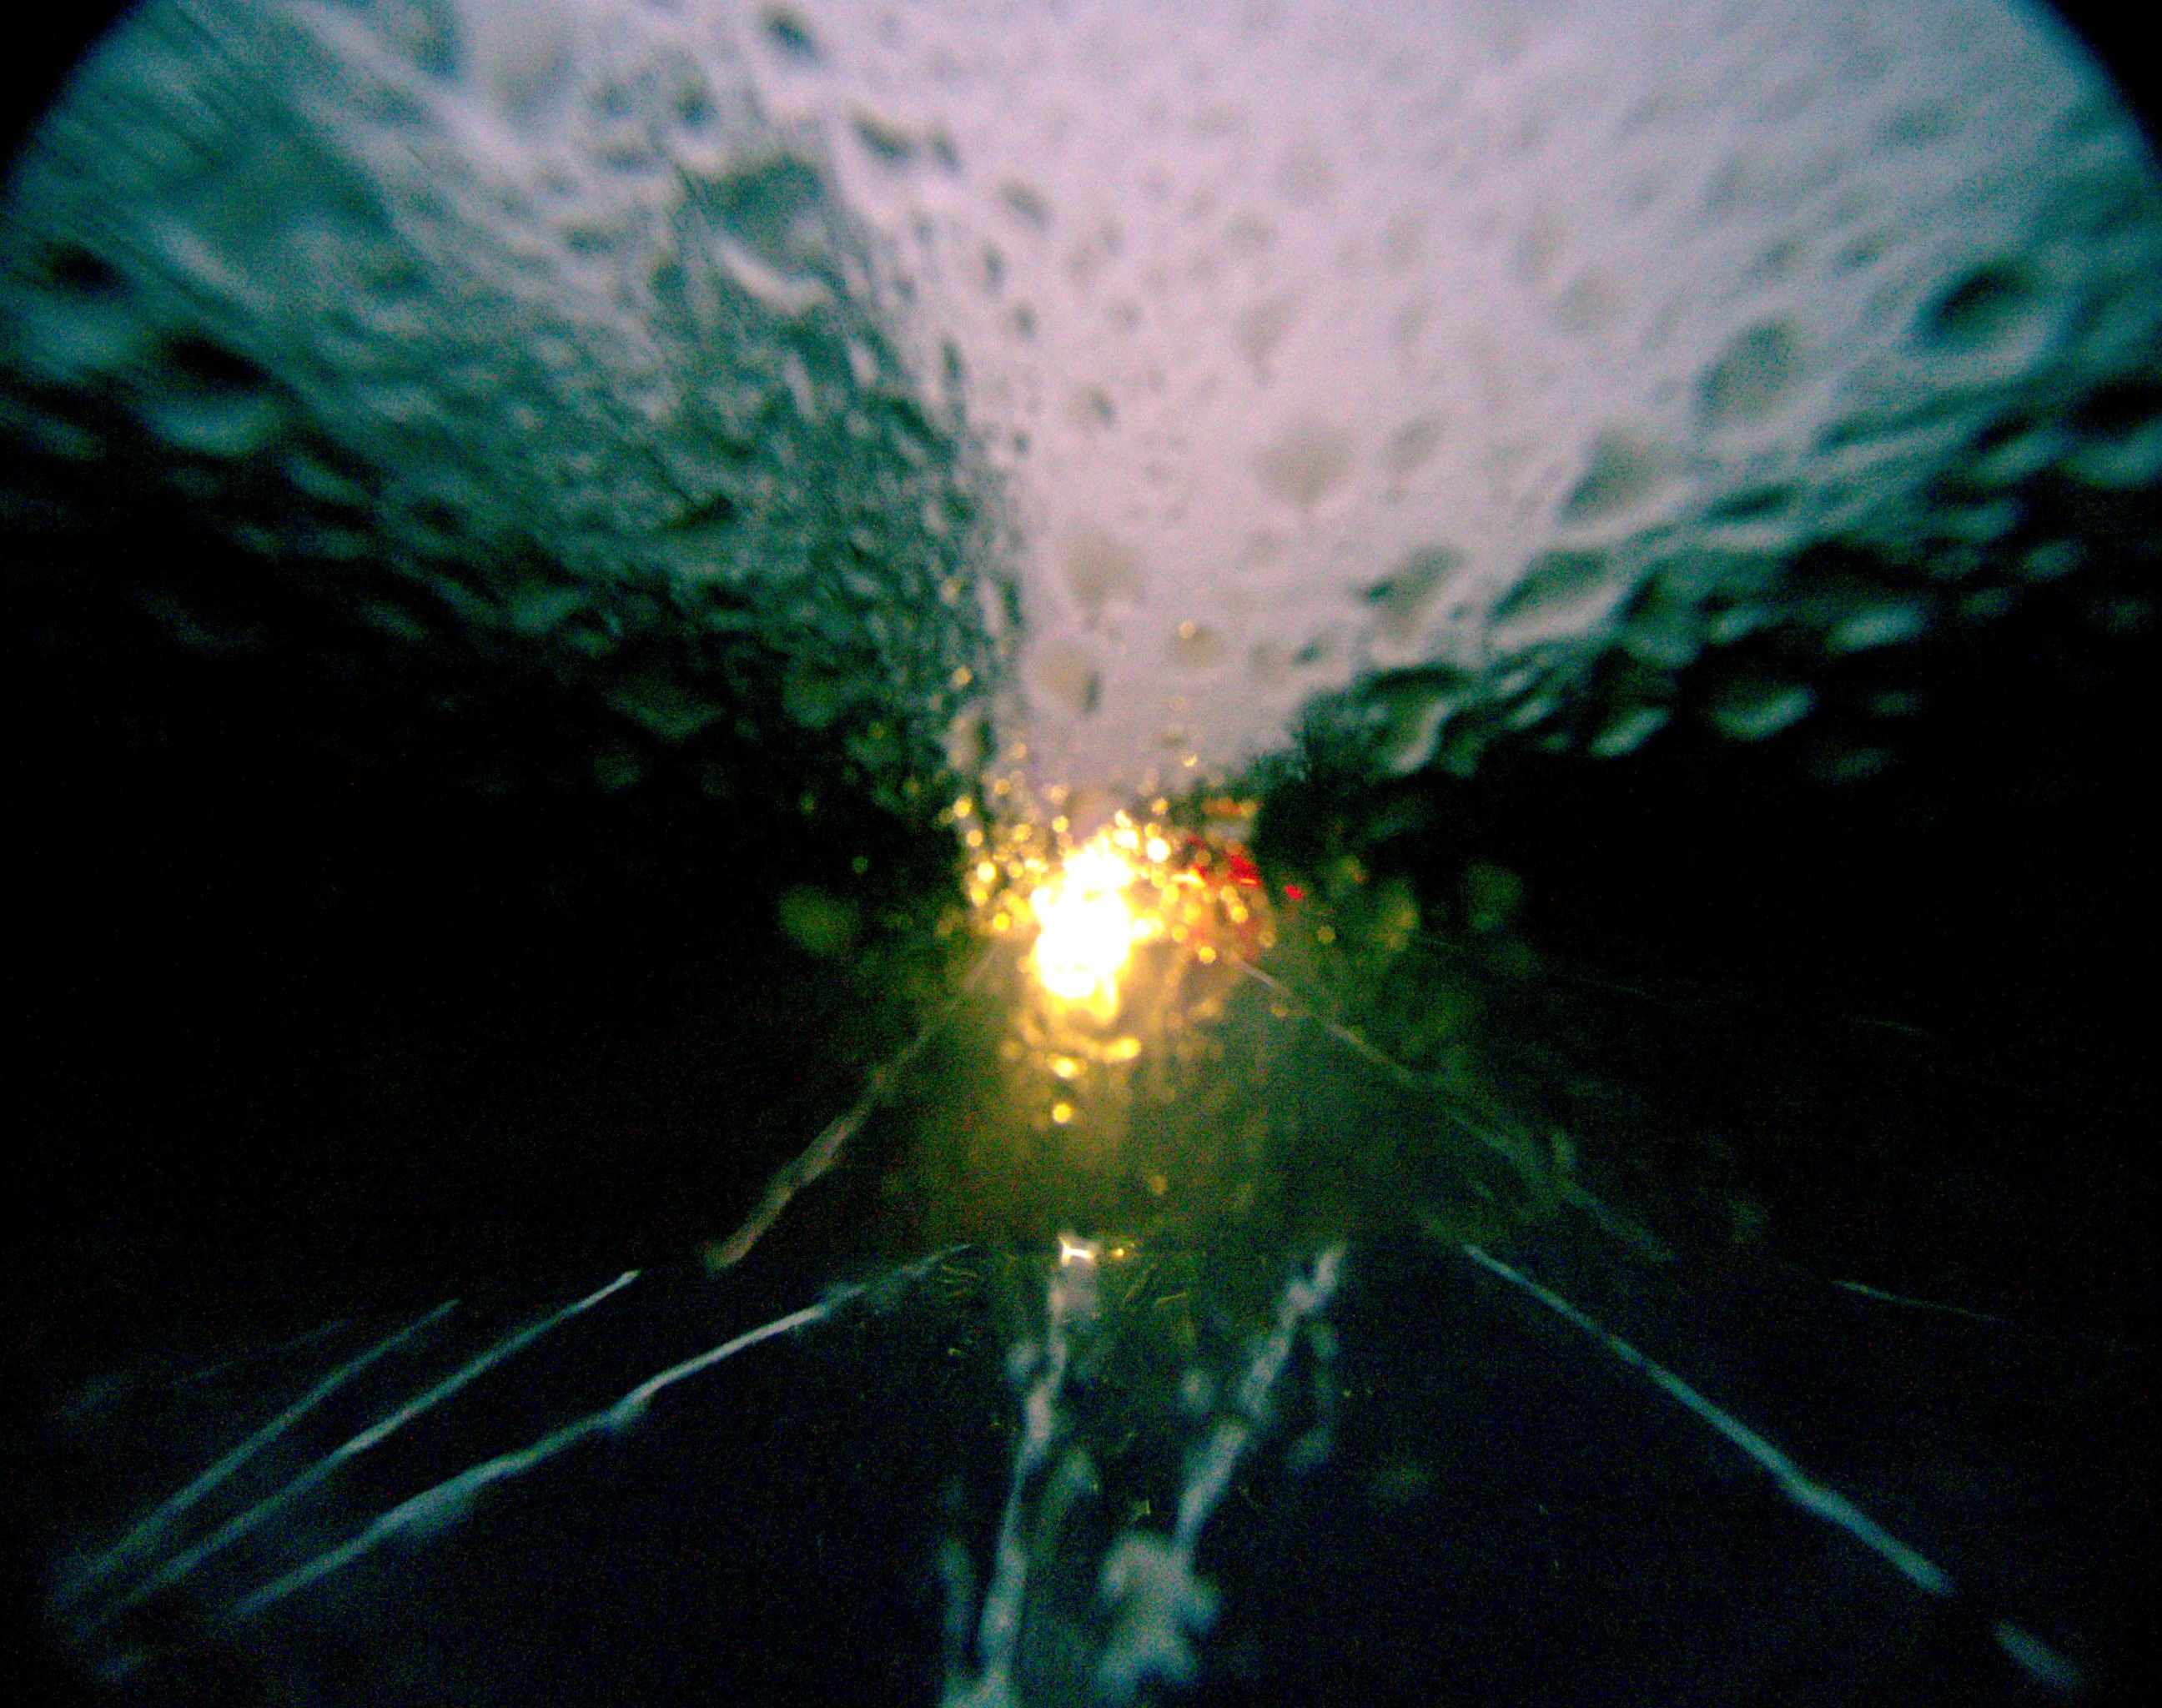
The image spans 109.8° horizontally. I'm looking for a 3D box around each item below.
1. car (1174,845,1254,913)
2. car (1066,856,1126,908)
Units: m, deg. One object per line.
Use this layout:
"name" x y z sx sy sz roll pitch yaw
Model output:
"car" 3.724 0.635 21.923 1.678 1.727 3.837 -2 1 1
"car" 0.520 0.958 27.996 1.998 1.672 4.000 -2 1 0
